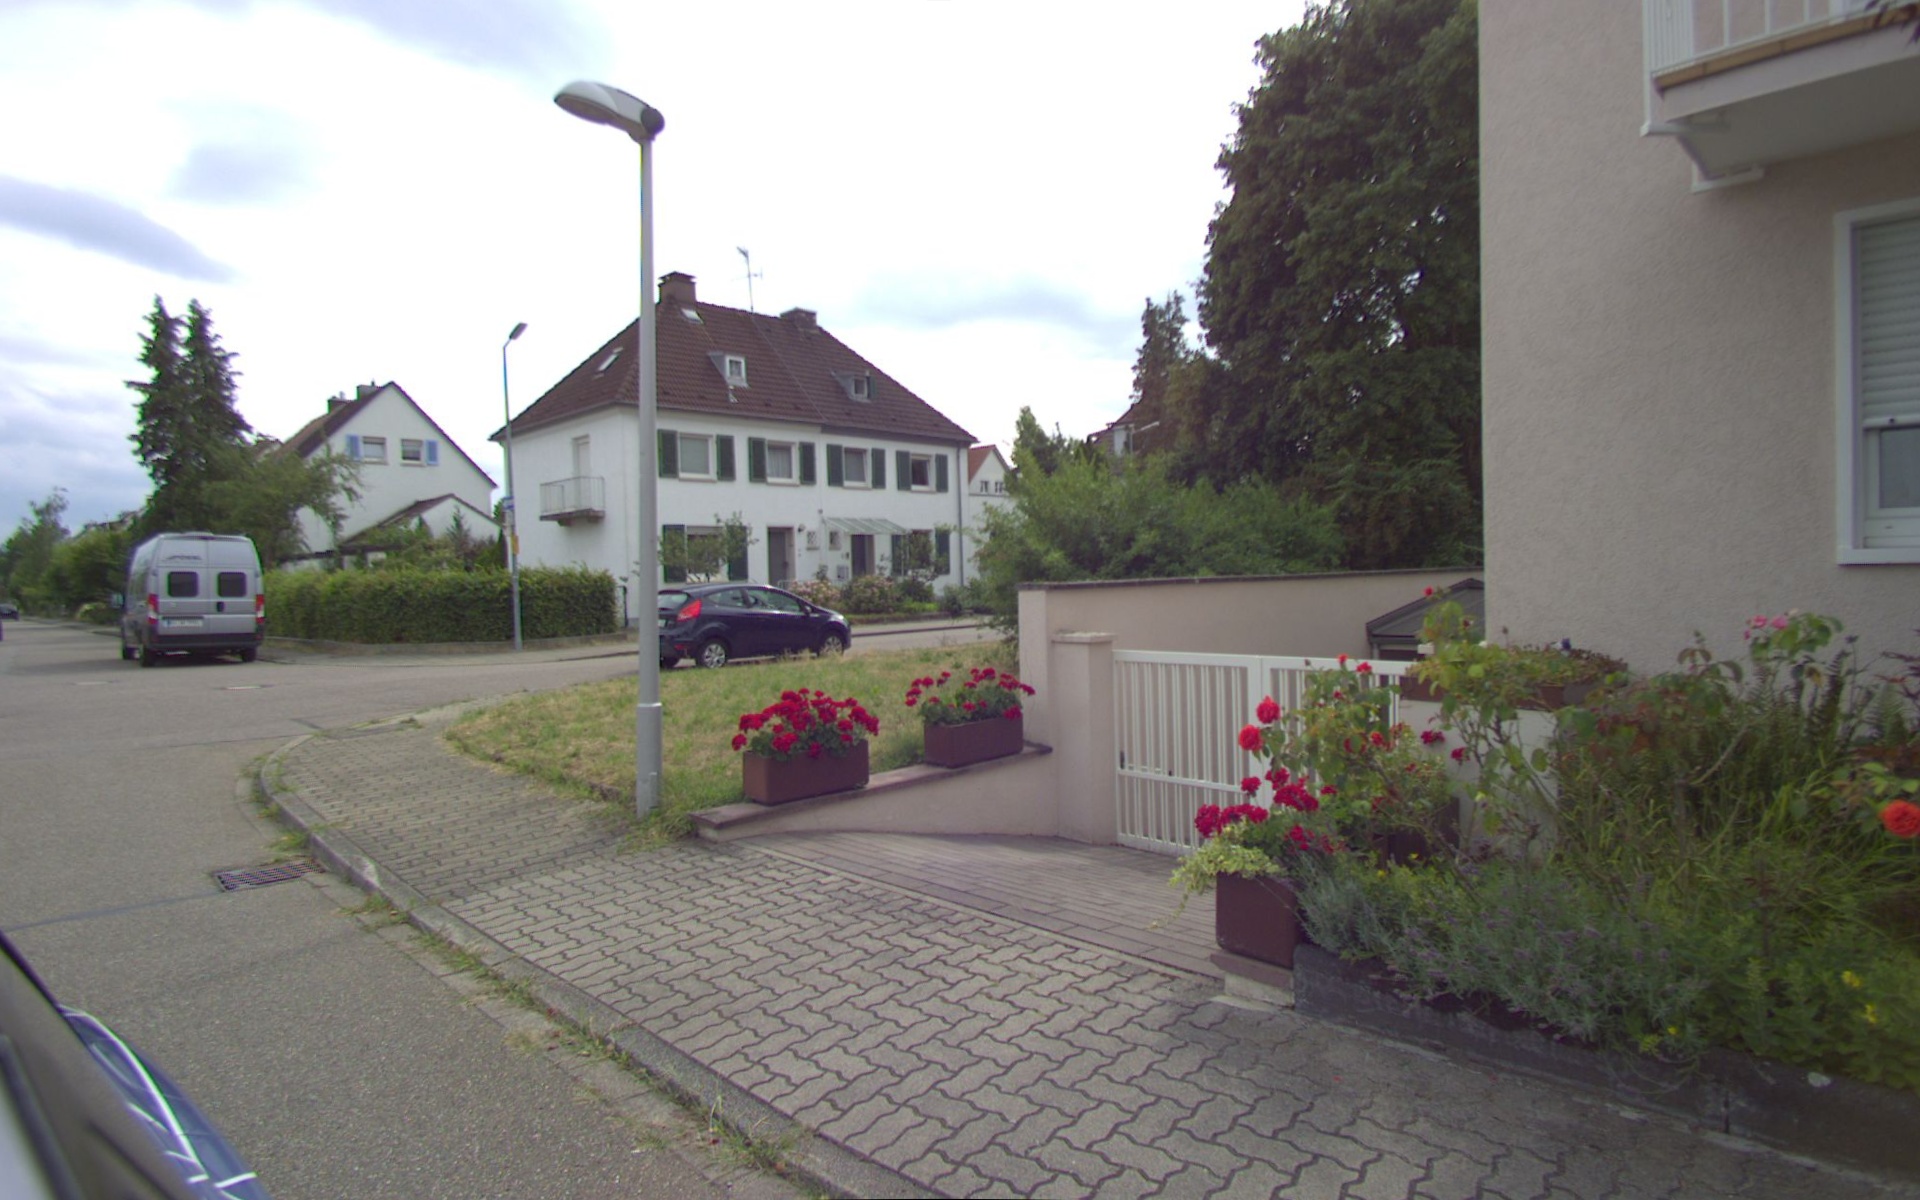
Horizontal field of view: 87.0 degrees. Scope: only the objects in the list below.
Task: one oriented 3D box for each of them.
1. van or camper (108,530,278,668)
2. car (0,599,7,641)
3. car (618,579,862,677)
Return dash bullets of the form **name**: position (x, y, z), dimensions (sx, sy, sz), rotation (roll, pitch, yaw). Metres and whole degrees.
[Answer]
- **van or camper**: position (-17.580, -0.043, 23.058), dimensions (2.314, 2.755, 5.751), rotation (-3, 2, -44)
- **car**: position (-40.782, 0.850, 41.750), dimensions (1.969, 1.718, 4.005), rotation (-3, 2, -42)
- **car**: position (-3.747, 0.406, 17.675), dimensions (1.723, 1.452, 3.829), rotation (0, 2, 44)
